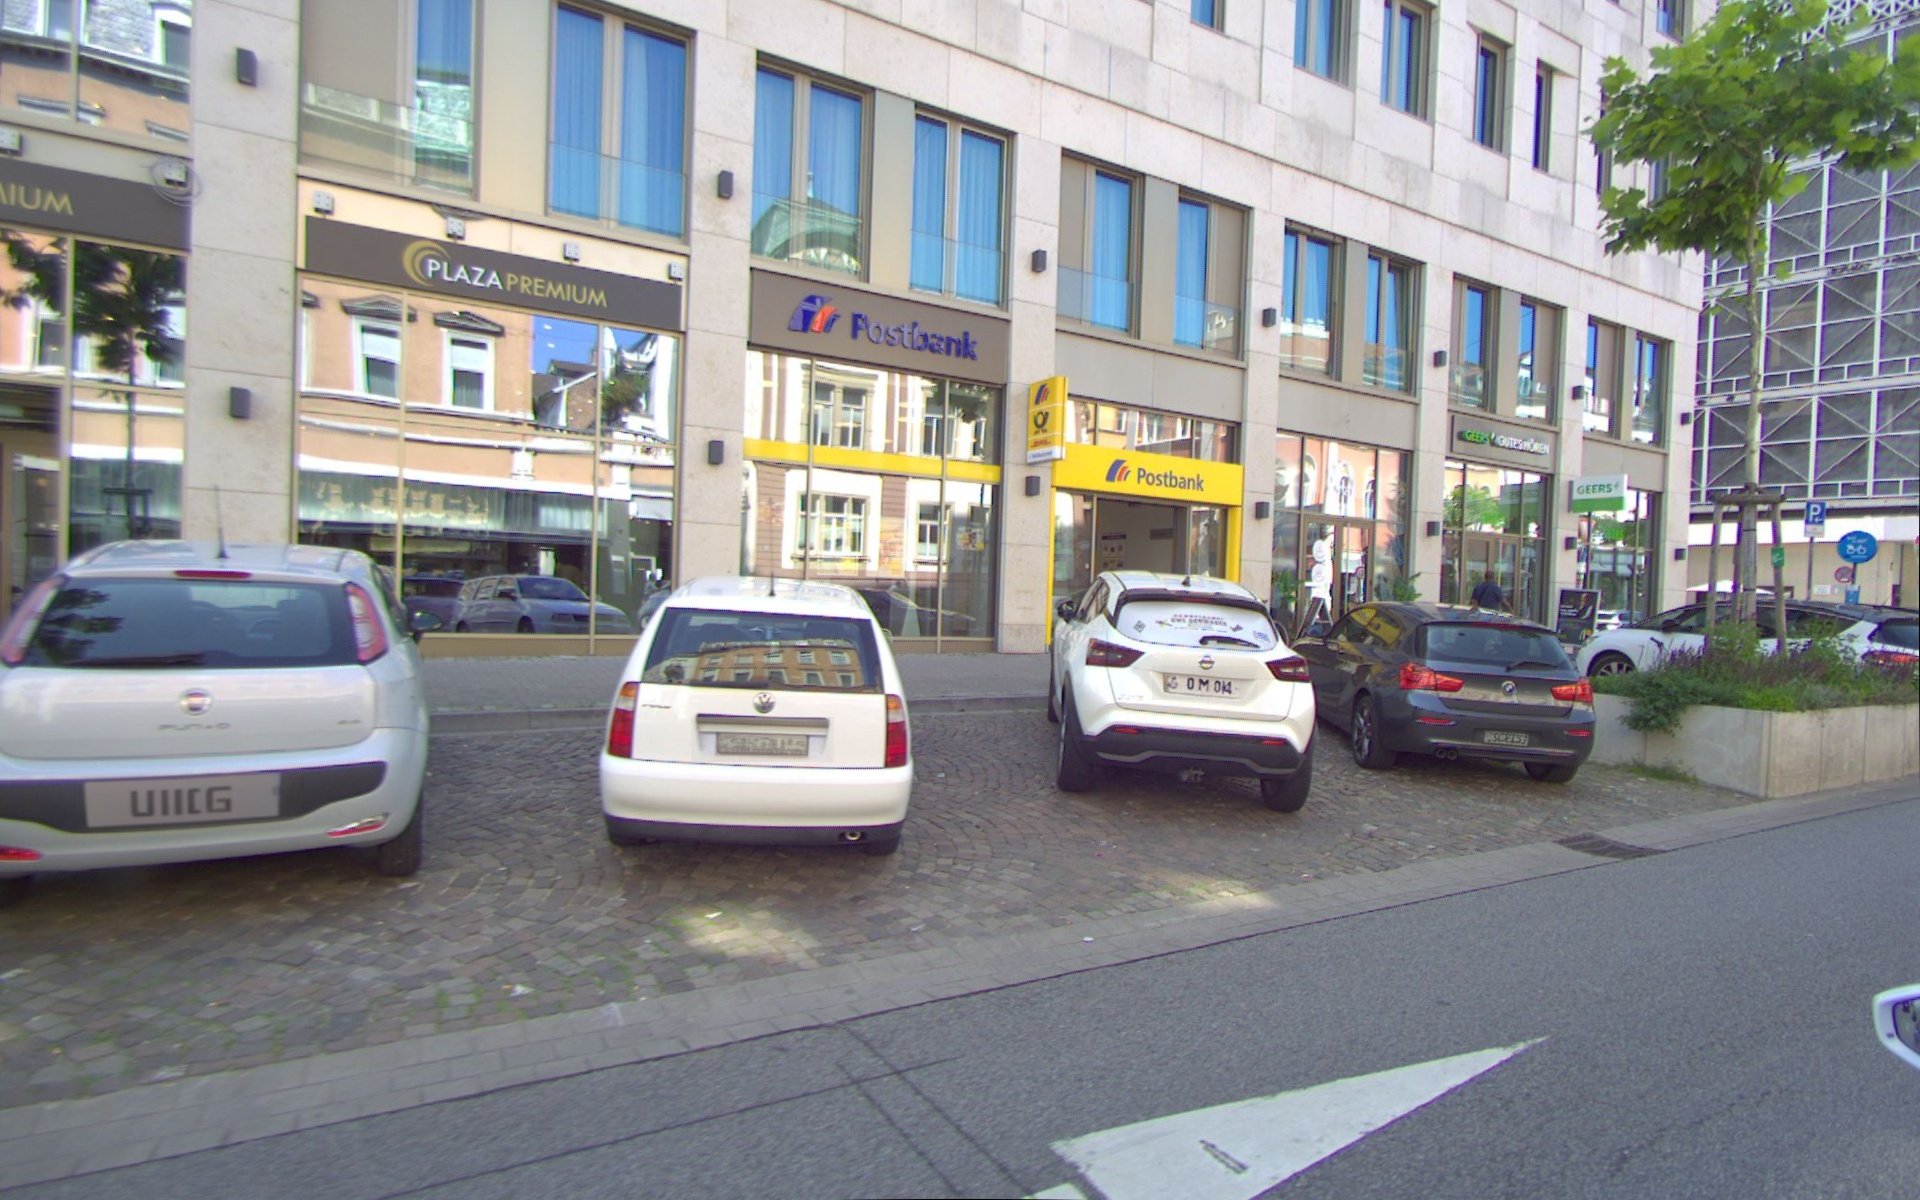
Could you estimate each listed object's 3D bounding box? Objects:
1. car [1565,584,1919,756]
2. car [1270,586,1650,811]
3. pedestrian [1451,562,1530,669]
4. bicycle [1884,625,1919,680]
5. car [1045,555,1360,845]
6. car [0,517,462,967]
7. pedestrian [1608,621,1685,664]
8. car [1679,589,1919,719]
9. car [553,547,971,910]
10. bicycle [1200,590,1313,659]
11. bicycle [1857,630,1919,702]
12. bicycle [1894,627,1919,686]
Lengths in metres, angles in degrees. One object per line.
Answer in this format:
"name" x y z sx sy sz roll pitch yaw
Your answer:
"car" 10.848 0.792 13.537 2.071 1.659 4.150 2 4 -21
"car" 4.485 0.723 9.870 1.751 1.469 4.319 3 3 4
"pedestrian" 9.862 0.278 18.695 0.834 1.904 0.834 1 4 -29
"bicycle" 20.842 1.158 21.227 0.634 1.142 2.063 1 1 -3
"car" 1.711 0.553 8.465 1.783 1.615 4.038 4 5 3
"car" -3.908 0.413 5.528 1.799 1.548 3.967 3 3 -30
"pedestrian" 16.022 0.980 23.456 0.832 0.938 1.243 1 1 -31
"car" 13.647 0.757 15.439 1.922 1.624 4.029 3 2 -7
"car" -1.253 0.517 6.838 1.830 1.452 4.491 3 5 -10
"bicycle" 5.156 0.427 17.421 2.135 1.122 0.493 1 3 -30
"bicycle" 16.493 1.151 16.803 0.478 1.142 2.131 0 3 -28
"bicycle" 19.531 1.180 19.588 0.551 1.142 2.062 1 2 -4
